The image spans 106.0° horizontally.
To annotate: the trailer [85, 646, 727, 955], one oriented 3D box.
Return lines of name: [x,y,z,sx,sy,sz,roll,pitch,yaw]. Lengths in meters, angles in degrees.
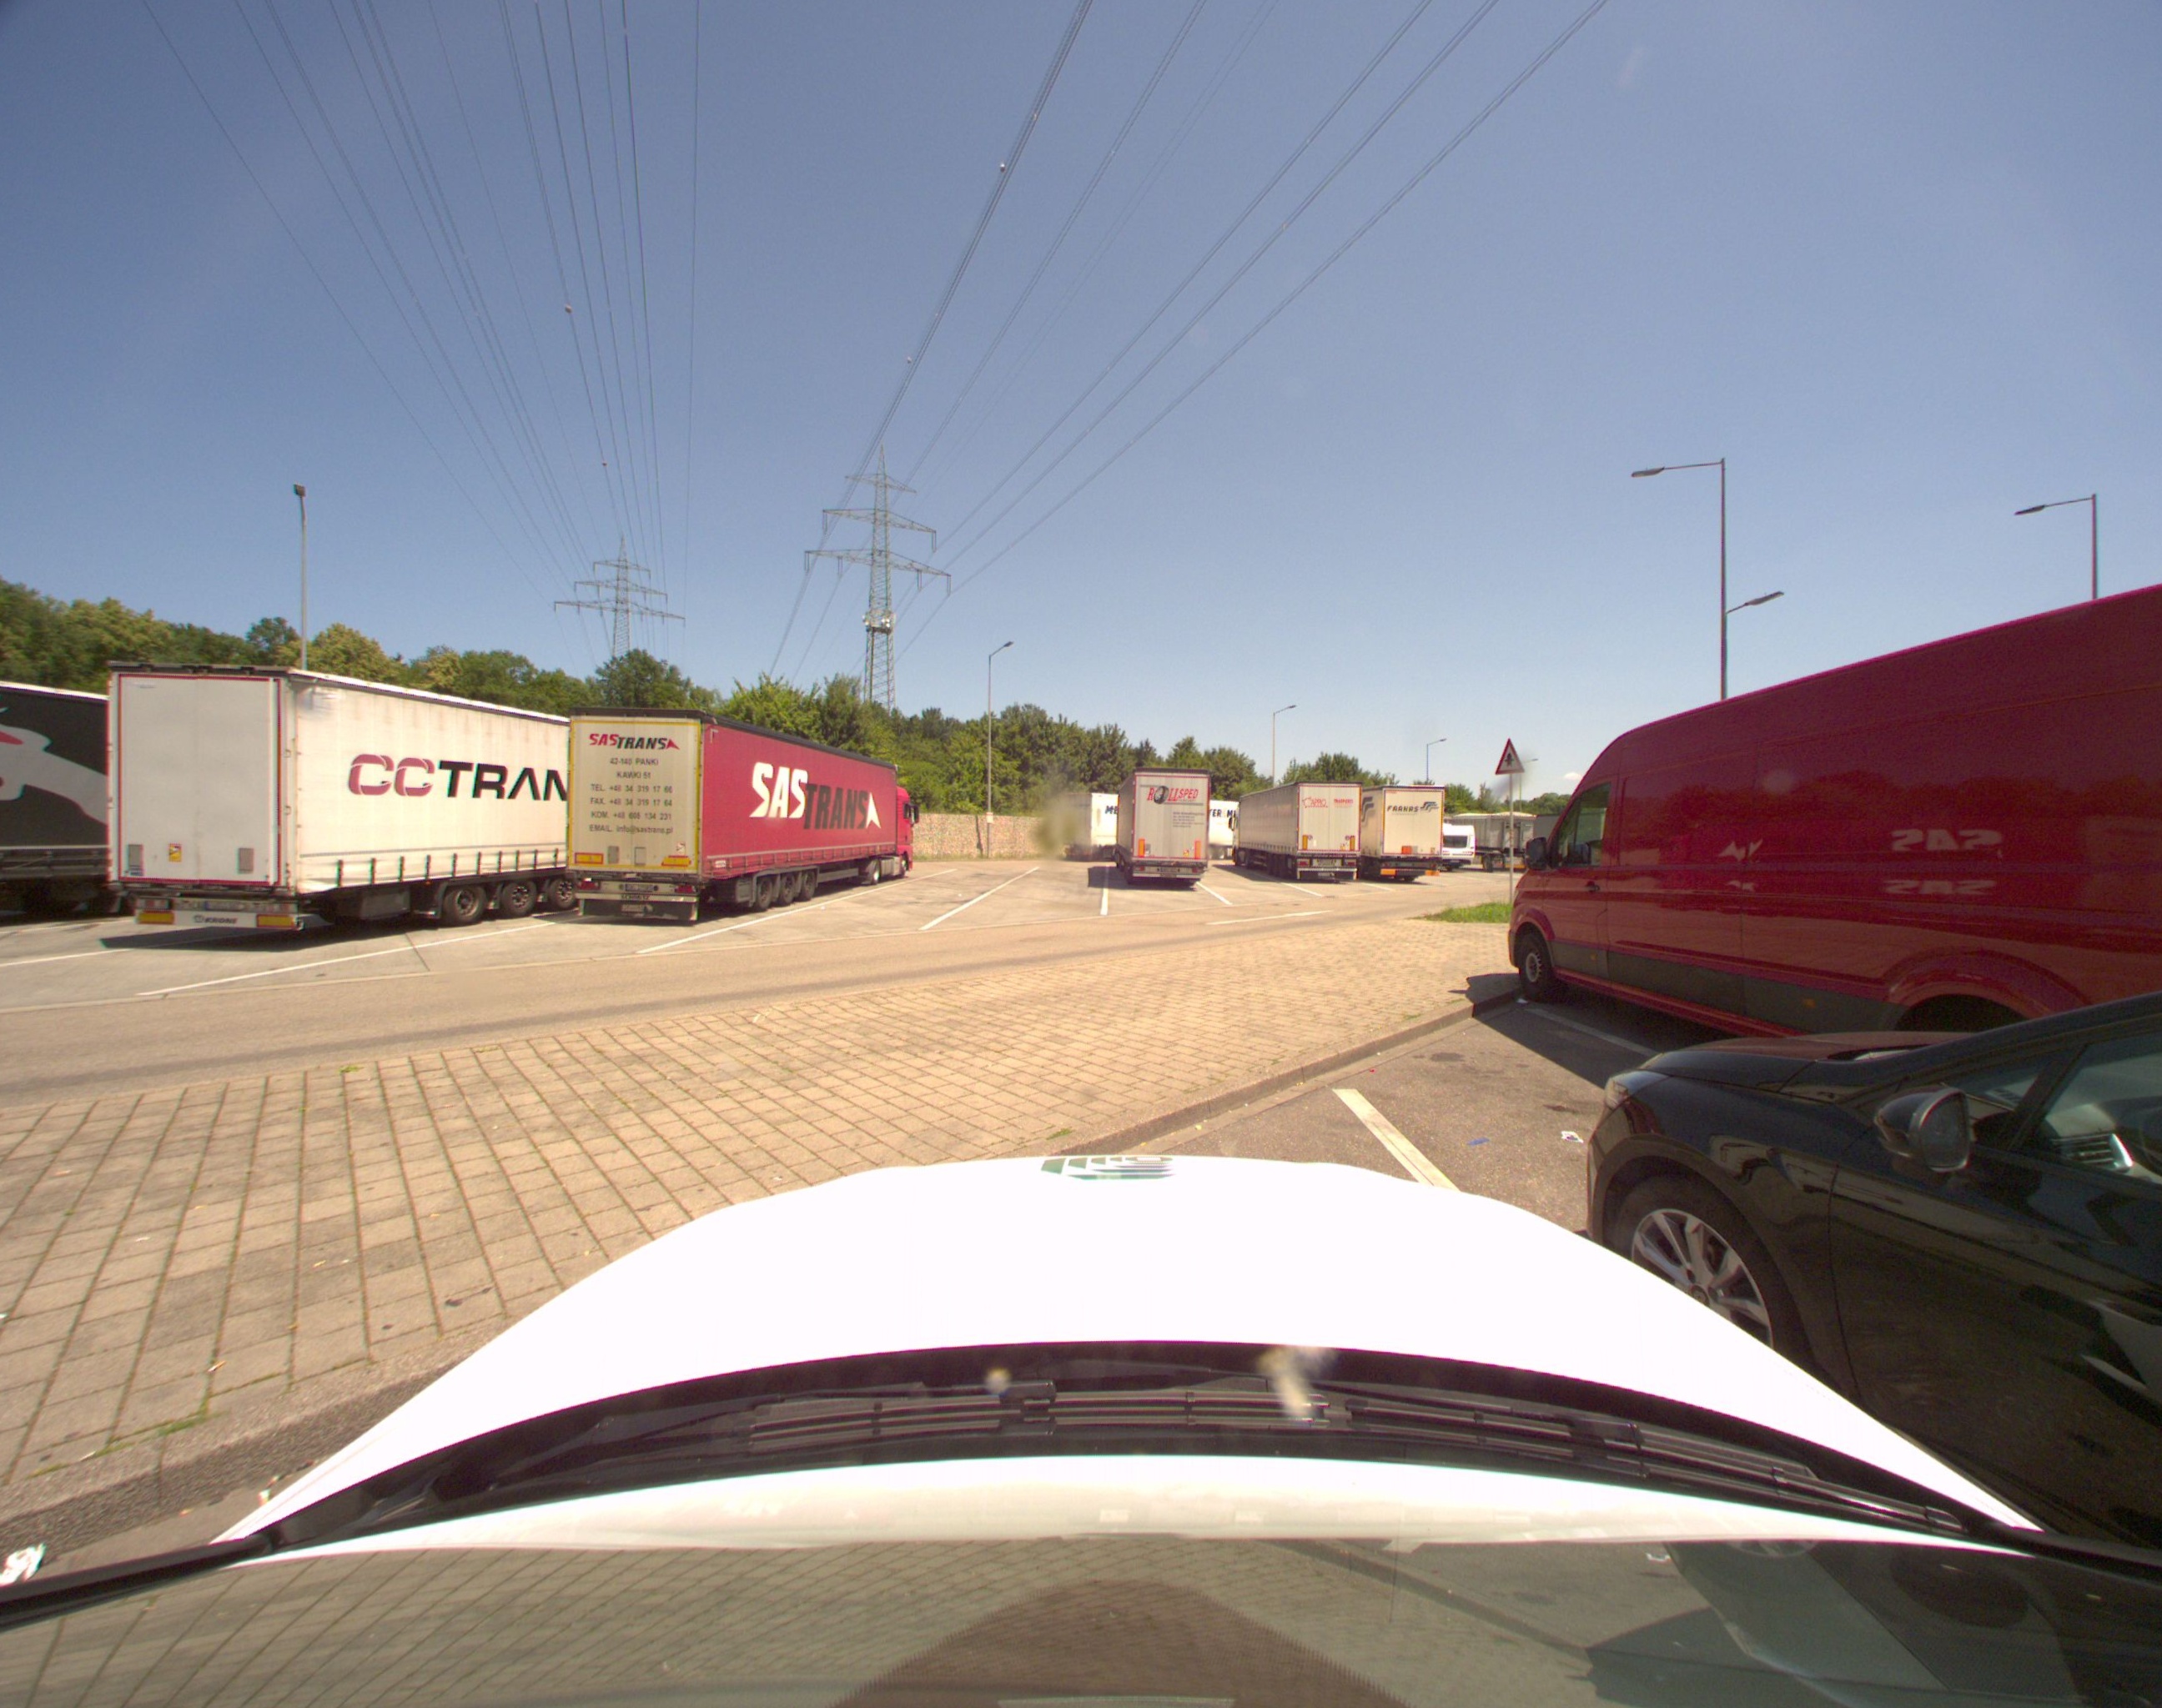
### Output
trailer: [-12.157,-0.979,17.753,2.803,4.266,12.947,0,2,2]

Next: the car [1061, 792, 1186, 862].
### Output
car: [2.831,-1.680,51.457,8.514,4.043,2.656,-1,3,-43]

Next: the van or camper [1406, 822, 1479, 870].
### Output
van or camper: [20.604,-0.462,46.696,2.096,2.561,5.376,-1,1,3]

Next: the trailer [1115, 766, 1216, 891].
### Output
trailer: [3.056,-1.104,33.689,2.857,4.037,14.244,0,2,1]

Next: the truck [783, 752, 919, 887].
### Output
truck: [-7.741,-1.156,28.312,2.686,4.112,6.243,1,2,2]

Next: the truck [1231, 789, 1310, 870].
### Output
truck: [10.193,-1.367,44.492,2.856,4.037,6.960,1,2,2]

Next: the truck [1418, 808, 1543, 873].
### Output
truck: [24.315,-0.953,50.454,2.478,3.568,11.429,1,2,2]

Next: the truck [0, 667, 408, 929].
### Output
truck: [-18.612,-1.027,16.236,2.803,4.190,8.793,0,2,2]

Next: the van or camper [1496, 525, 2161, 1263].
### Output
van or camper: [5.140,0.100,5.452,1.986,2.654,6.490,-1,1,6]

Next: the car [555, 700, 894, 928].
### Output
car: [-8.042,-0.937,21.396,2.686,4.112,12.943,1,2,2]

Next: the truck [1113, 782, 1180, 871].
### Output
truck: [3.151,-1.393,40.777,2.857,4.037,7.029,0,2,1]

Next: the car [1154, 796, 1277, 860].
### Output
car: [9.745,-1.832,57.811,10.272,4.188,2.657,-1,3,-42]

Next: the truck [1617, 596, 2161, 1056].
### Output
truck: [7.942,-0.211,7.023,2.455,2.792,6.978,0,1,4]

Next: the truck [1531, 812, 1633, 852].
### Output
truck: [38.052,-1.637,62.328,2.117,2.820,9.783,-1,1,2]

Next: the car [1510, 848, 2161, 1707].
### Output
car: [2.455,0.754,1.101,1.612,1.483,3.762,-1,1,-4]

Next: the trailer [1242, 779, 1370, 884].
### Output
trailer: [9.965,-1.102,37.860,2.855,4.037,12.445,1,2,2]

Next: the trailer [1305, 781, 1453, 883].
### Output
trailer: [13.653,-1.121,38.834,2.855,4.037,12.445,1,2,2]
